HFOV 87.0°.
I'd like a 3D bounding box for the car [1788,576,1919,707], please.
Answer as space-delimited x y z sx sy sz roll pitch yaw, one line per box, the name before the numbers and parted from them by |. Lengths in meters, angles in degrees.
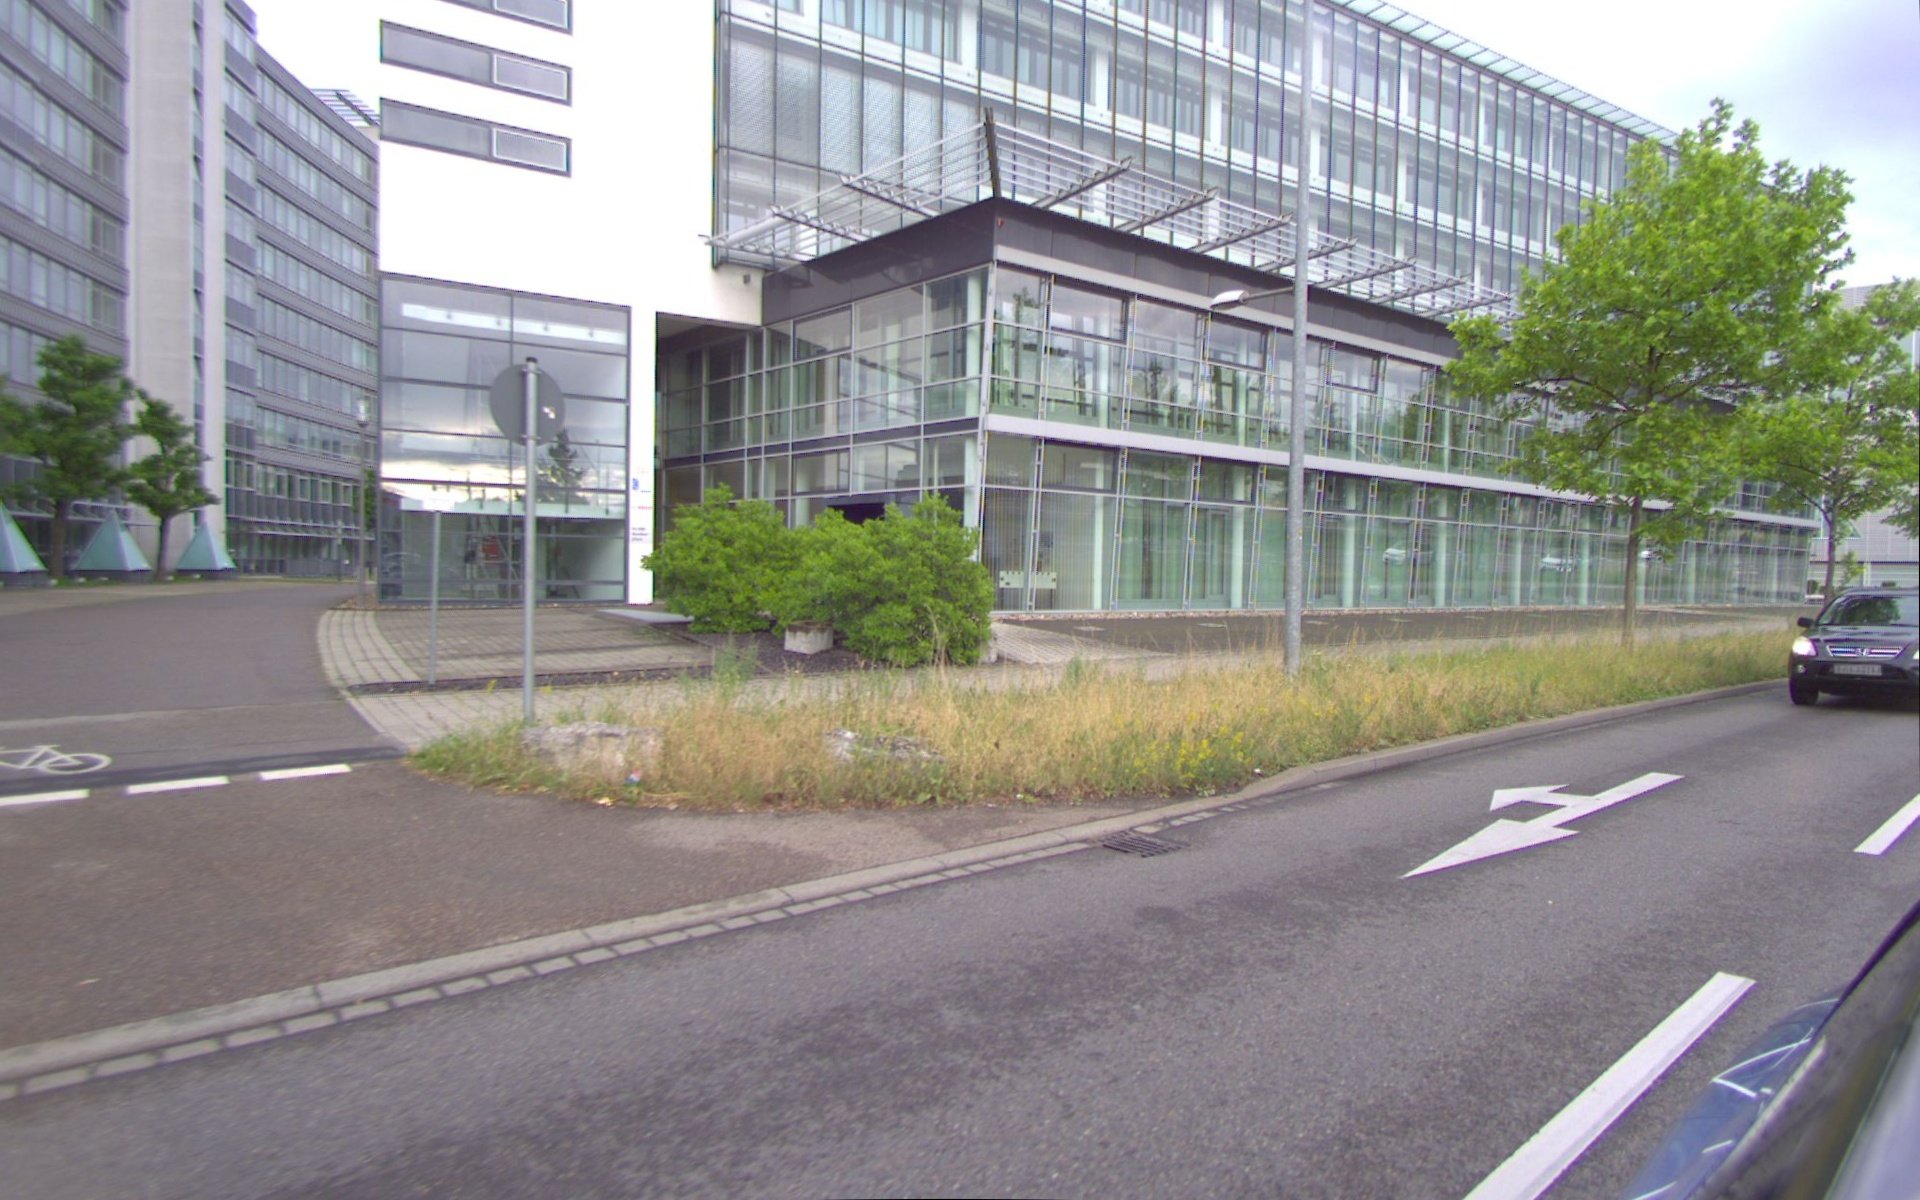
car | 13.480 0.497 14.374 4.246 1.650 1.770 -1 0 -38
